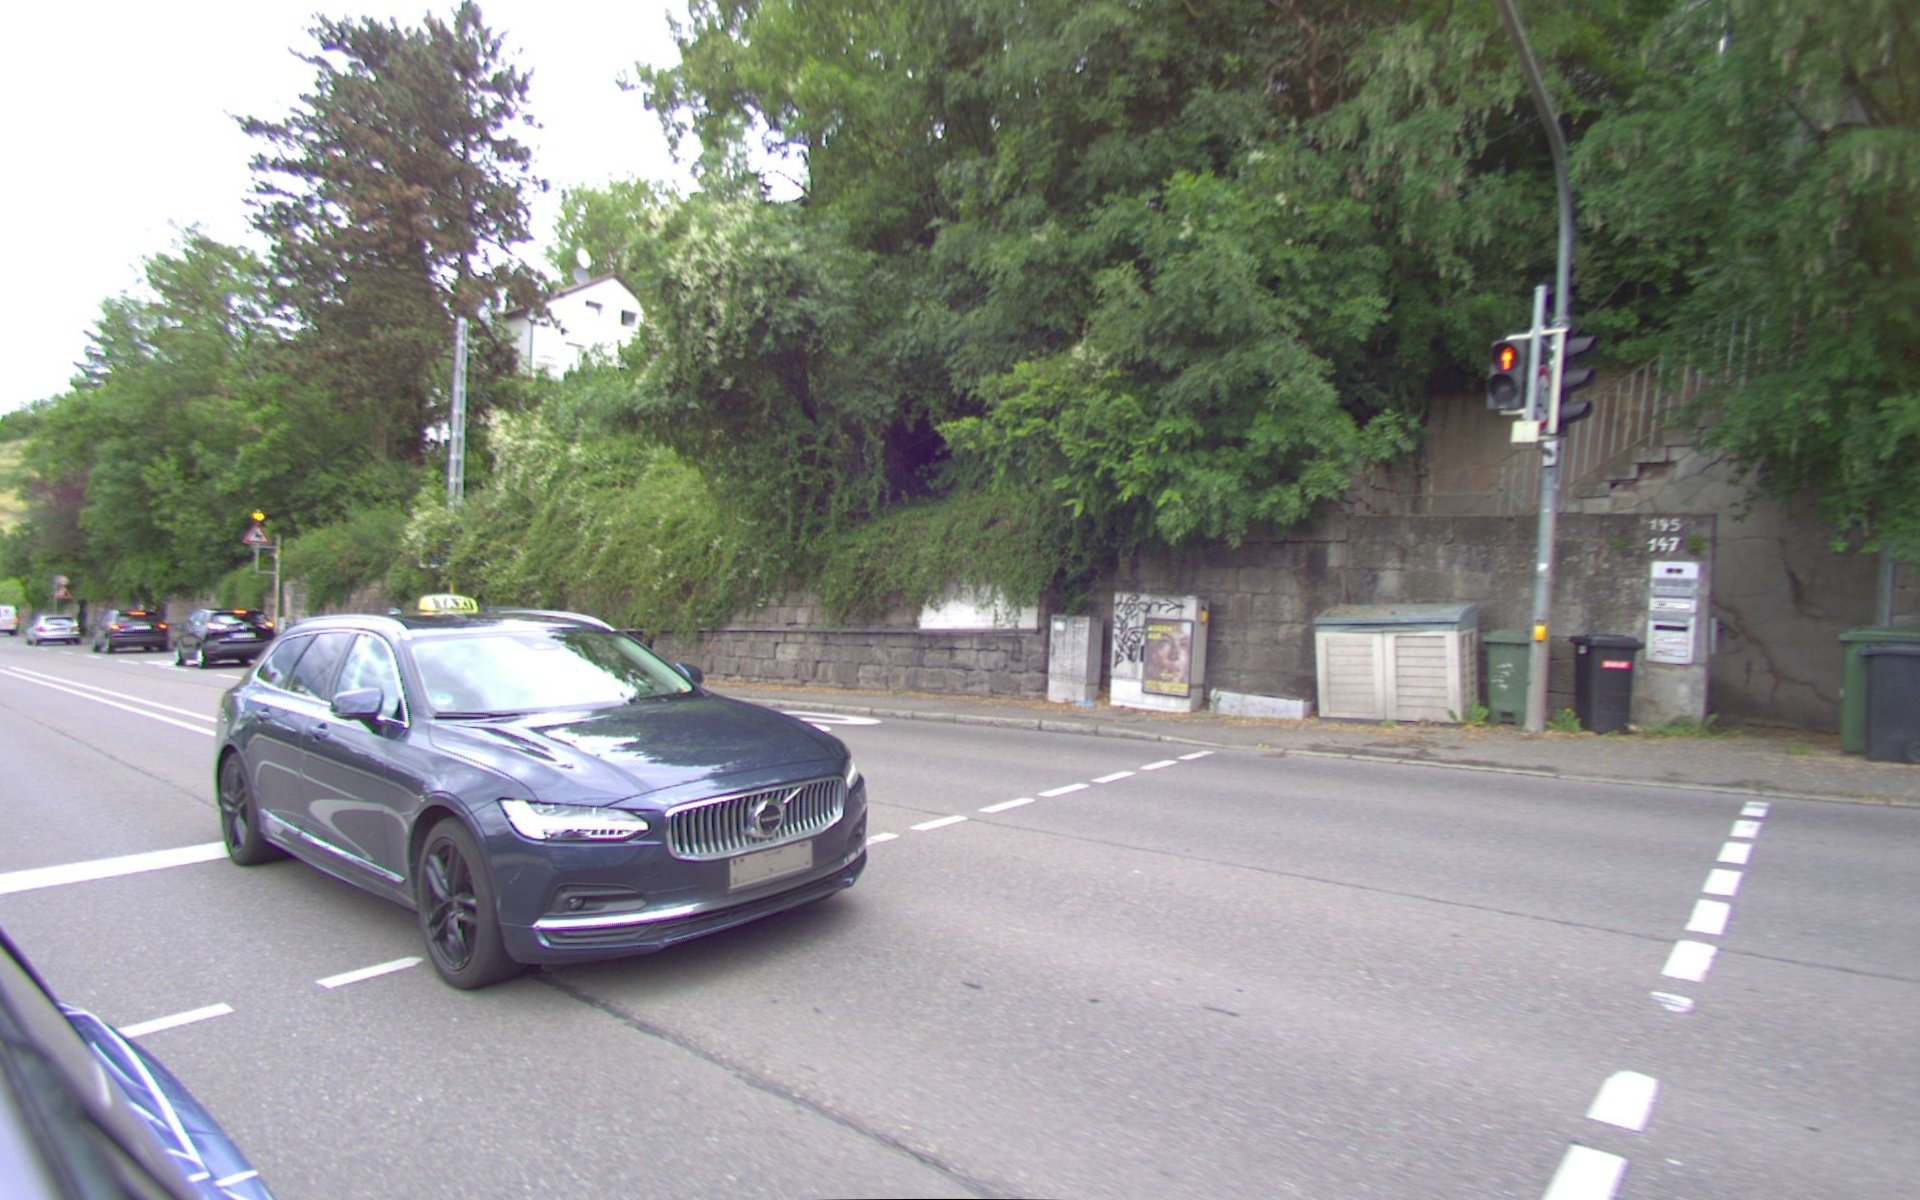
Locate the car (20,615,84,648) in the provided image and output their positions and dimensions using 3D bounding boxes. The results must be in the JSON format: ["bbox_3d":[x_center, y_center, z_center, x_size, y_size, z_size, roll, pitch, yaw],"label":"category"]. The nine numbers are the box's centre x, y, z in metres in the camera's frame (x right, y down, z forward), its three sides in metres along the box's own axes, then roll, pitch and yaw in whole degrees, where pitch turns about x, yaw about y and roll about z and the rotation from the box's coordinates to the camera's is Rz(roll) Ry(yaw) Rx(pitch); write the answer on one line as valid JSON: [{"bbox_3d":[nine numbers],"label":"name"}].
[{"bbox_3d":[-43.419,1.503,48.364,4.229,1.453,1.659,-2,0,40],"label":"car"}]

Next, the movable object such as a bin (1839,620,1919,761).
[{"bbox_3d":[7.579,0.715,8.277,0.556,1.075,0.635,-1,1,40],"label":"movable object such as a bin"}]

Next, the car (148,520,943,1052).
[{"bbox_3d":[-2.594,0.565,5.422,5.025,1.588,1.914,-1,1,42],"label":"car"}]

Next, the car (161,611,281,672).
[{"bbox_3d":[-20.384,1.119,27.844,4.209,1.493,1.763,-2,0,41],"label":"car"}]

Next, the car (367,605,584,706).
[{"bbox_3d":[-8.262,0.845,17.087,4.247,1.444,1.793,-1,1,42],"label":"car"}]

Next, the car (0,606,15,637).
[{"bbox_3d":[-64.780,1.431,67.592,5.353,2.020,1.901,-1,-1,41],"label":"car"}]

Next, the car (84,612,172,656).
[{"bbox_3d":[-31.399,1.237,38.145,4.247,1.560,1.921,-1,-1,41],"label":"car"}]

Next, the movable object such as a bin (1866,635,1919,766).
[{"bbox_3d":[7.290,0.763,7.764,0.478,0.957,0.423,-1,1,40],"label":"movable object such as a bin"}]
